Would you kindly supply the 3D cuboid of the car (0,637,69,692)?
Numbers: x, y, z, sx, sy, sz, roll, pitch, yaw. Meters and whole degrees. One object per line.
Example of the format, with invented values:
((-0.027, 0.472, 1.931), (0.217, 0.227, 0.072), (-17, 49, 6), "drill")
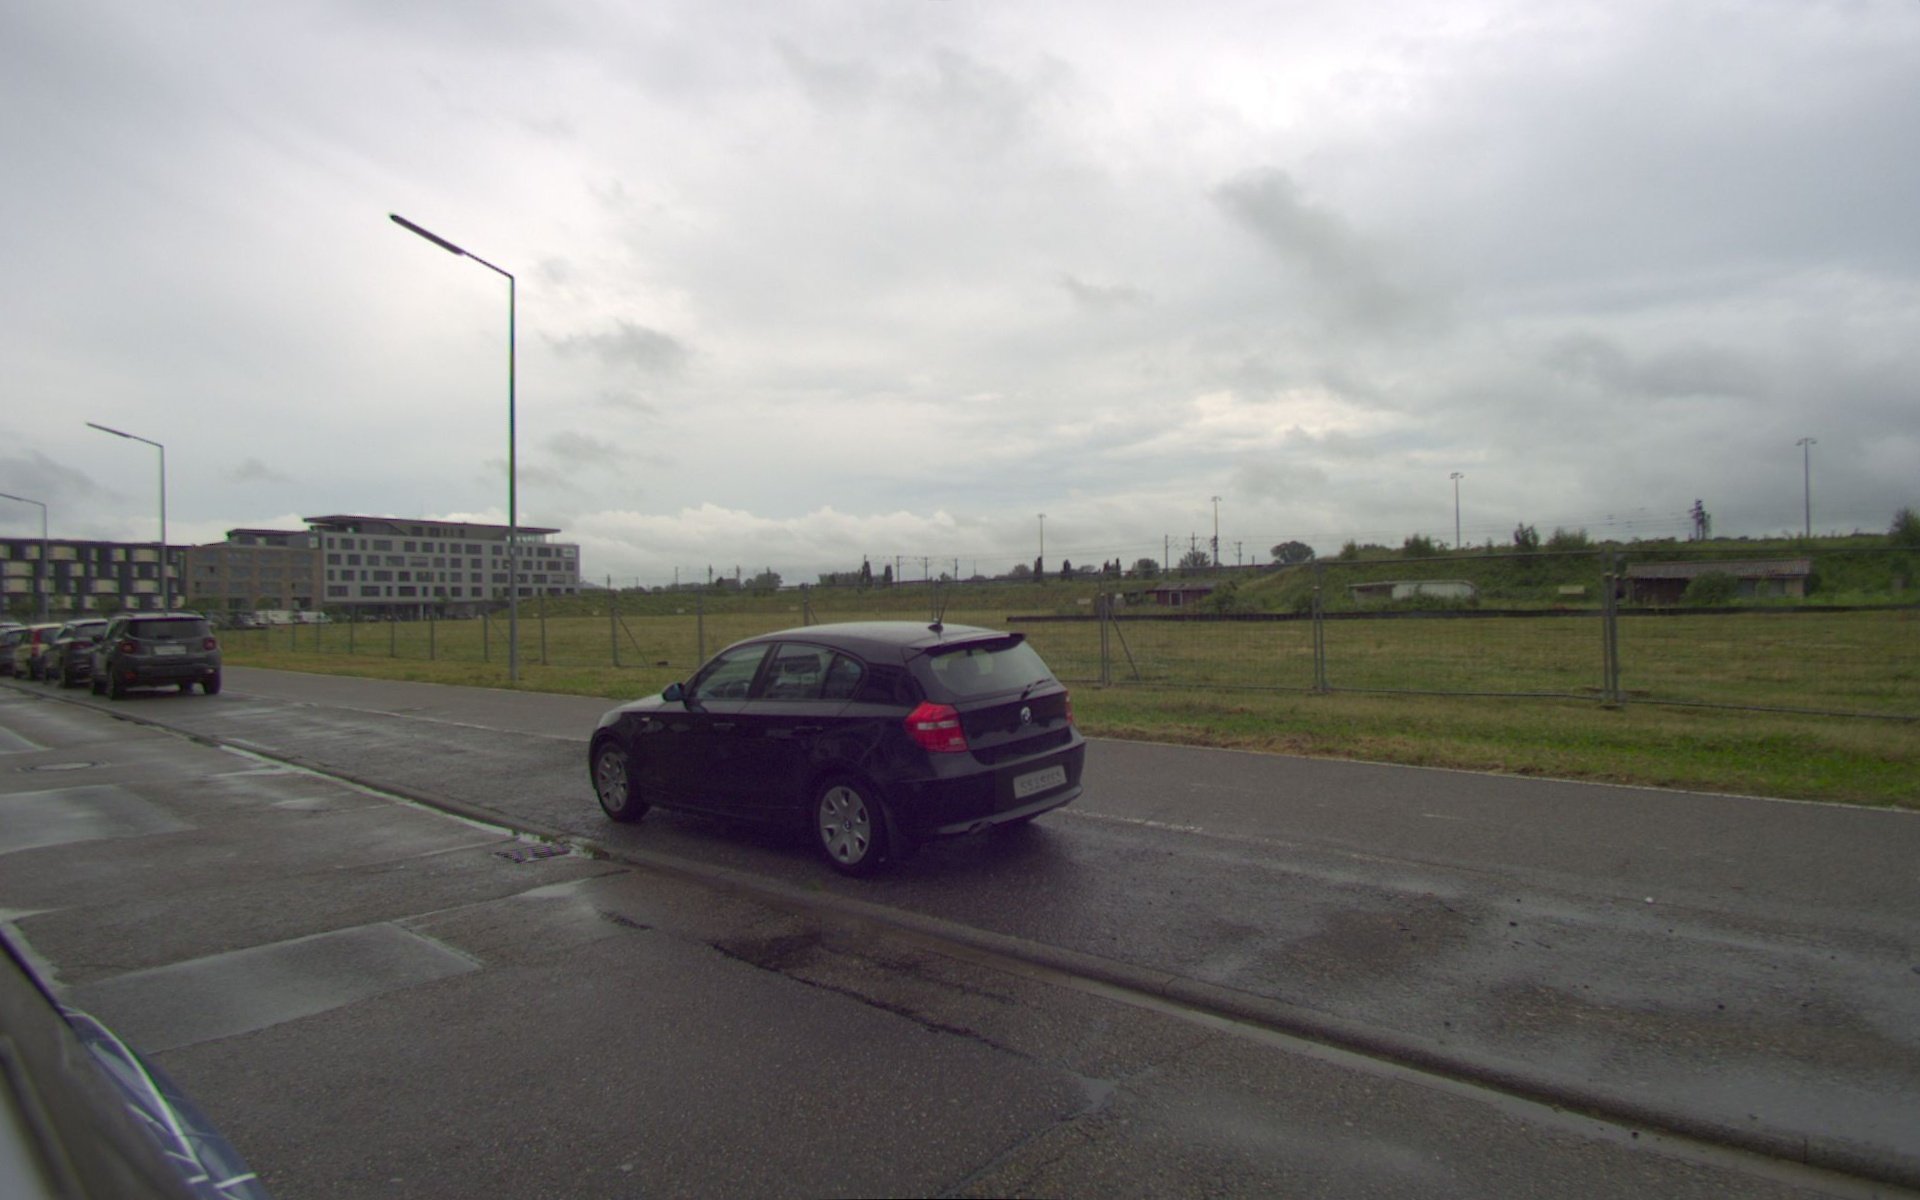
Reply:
((-30.198, 2.018, 32.446), (4.668, 1.540, 1.819), (-2, 1, 41), "car")

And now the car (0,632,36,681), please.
((-35.091, 2.060, 36.539), (4.984, 1.619, 1.834), (-2, 2, 40), "car")

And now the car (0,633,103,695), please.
((-26.054, 1.760, 28.889), (4.206, 1.587, 1.708), (-2, -1, 39), "car")

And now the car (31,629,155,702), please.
((-21.502, 1.578, 25.042), (4.131, 1.602, 1.735), (-3, -1, 41), "car")

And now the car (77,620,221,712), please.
((-17.300, 1.350, 21.496), (4.881, 1.706, 1.733), (-3, -1, 44), "car")

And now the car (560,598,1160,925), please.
((-0.904, 0.878, 7.172), (4.150, 1.573, 1.828), (-2, 1, 41), "car")
